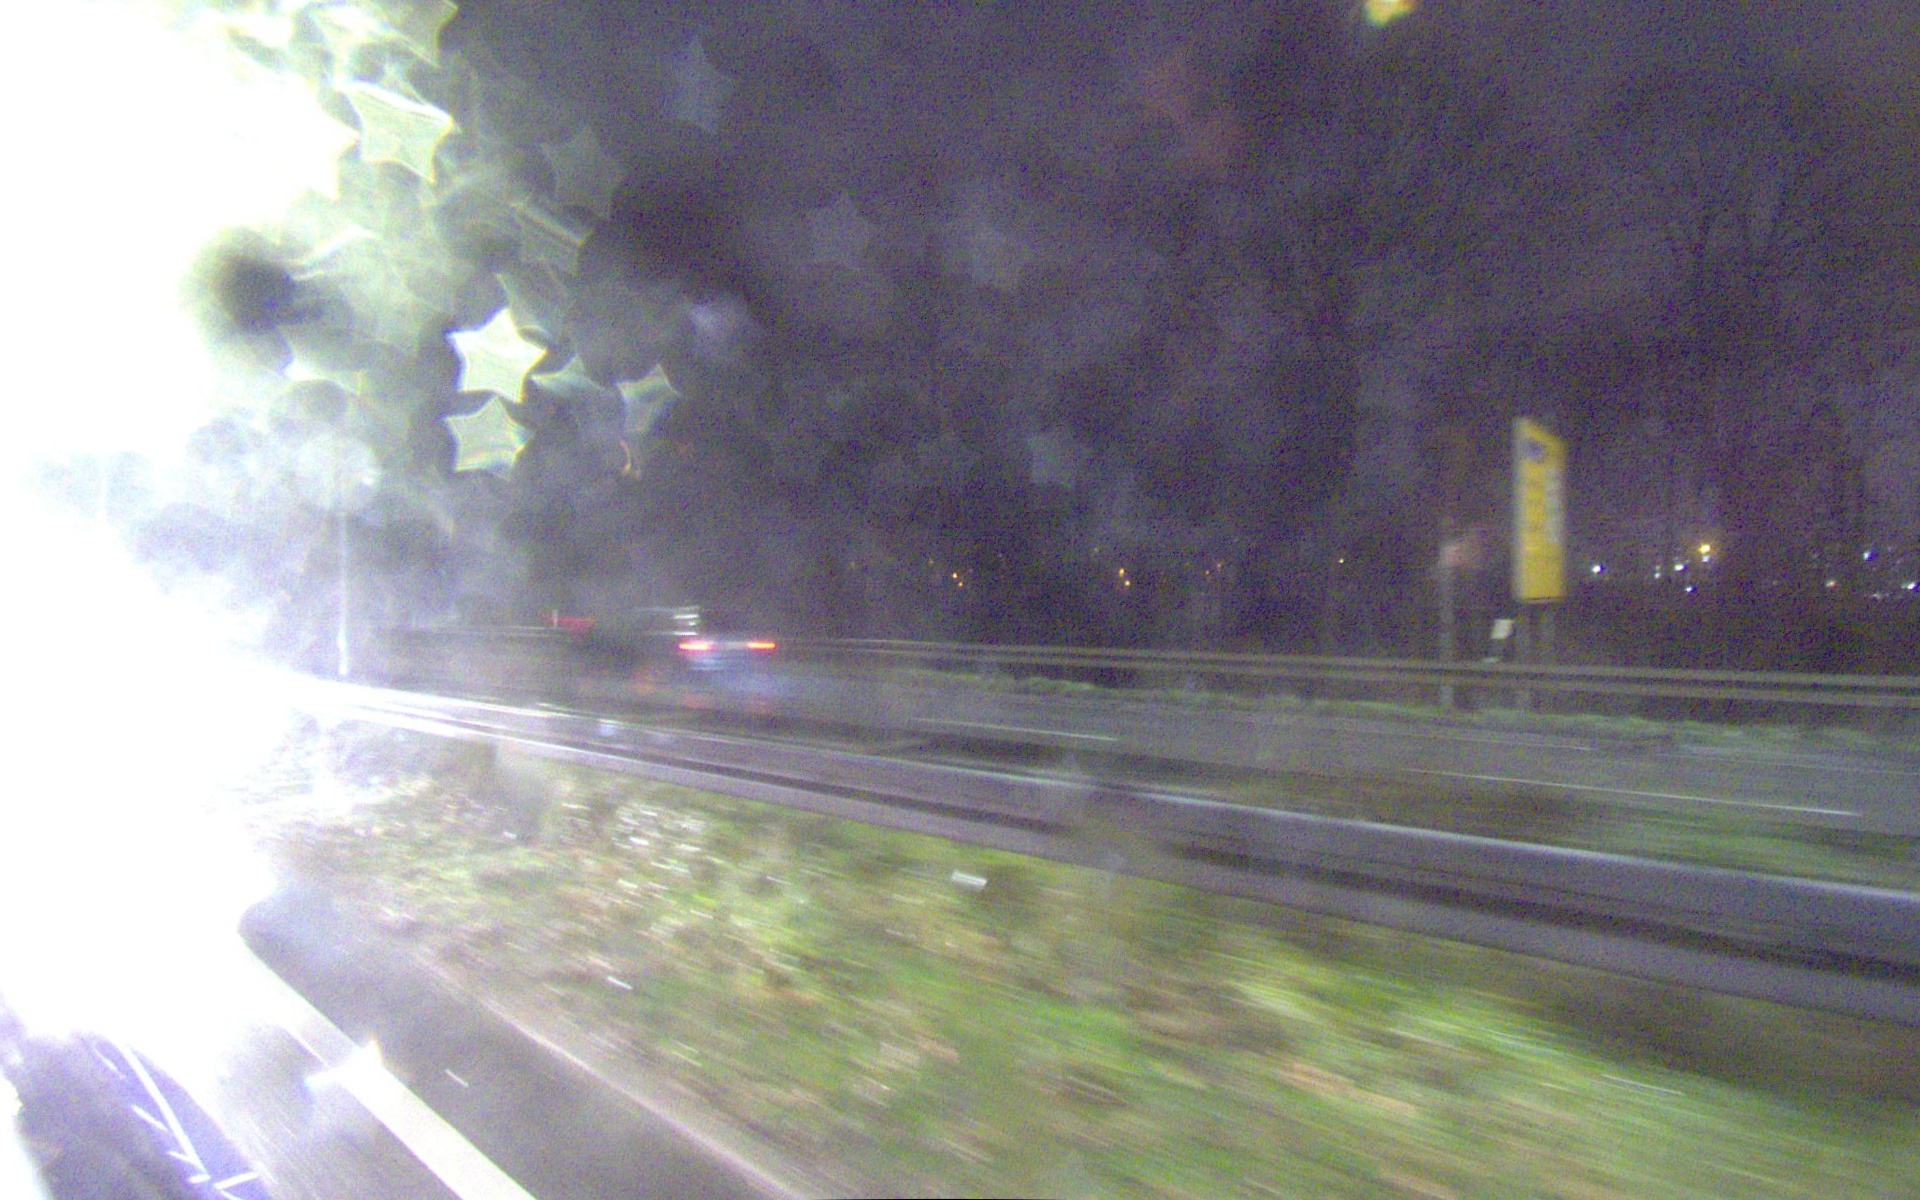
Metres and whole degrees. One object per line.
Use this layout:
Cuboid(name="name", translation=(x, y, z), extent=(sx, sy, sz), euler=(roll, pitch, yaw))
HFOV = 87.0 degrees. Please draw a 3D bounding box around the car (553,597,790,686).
Cuboid(name="car", translation=(-5.641, 0.797, 19.455), extent=(4.834, 1.520, 1.974), euler=(-3, -2, 39))
